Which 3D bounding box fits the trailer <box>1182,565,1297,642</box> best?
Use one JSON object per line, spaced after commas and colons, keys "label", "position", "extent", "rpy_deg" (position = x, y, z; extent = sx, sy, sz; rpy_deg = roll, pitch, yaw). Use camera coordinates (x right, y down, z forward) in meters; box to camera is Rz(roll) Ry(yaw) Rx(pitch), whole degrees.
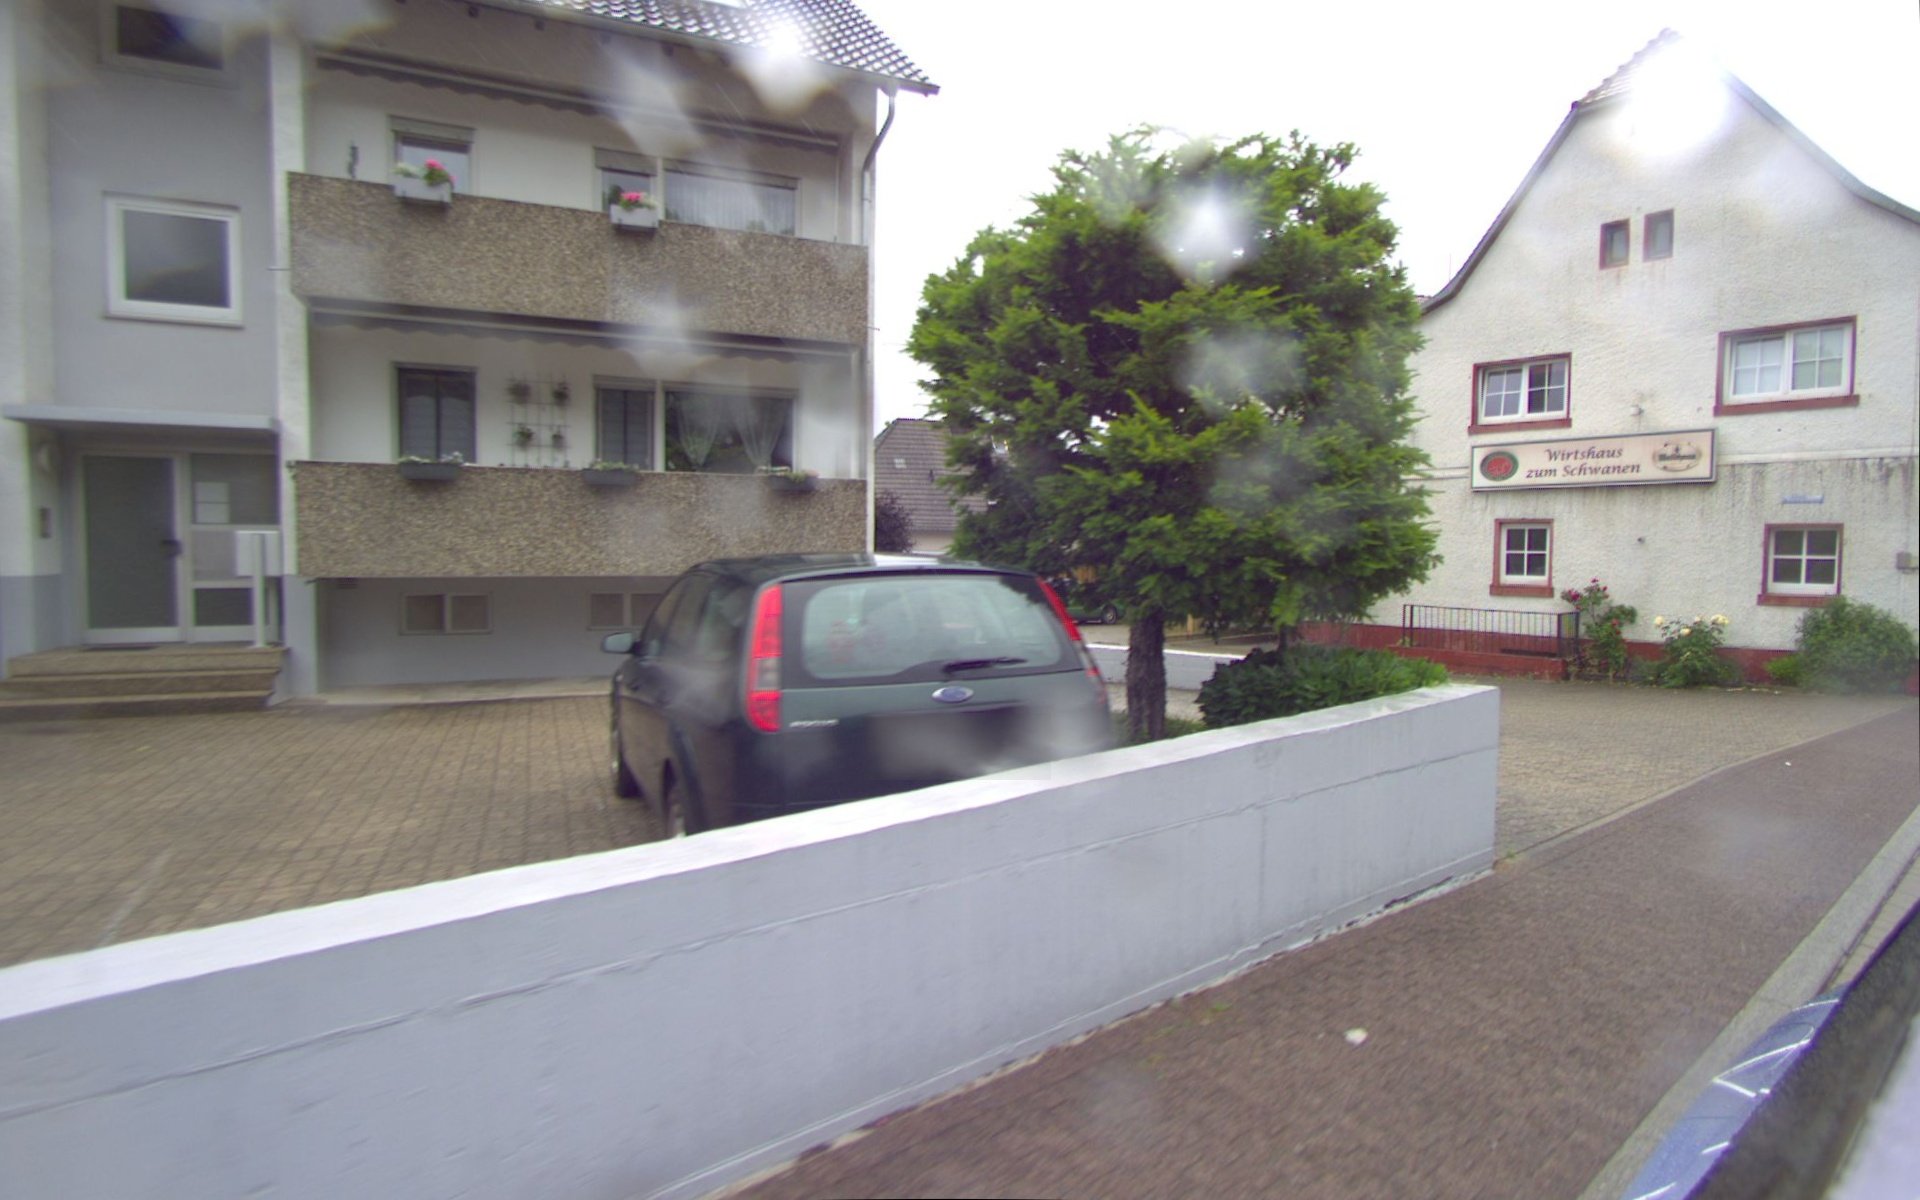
{"label": "trailer", "position": [6.769, 0.059, 24.448], "extent": [2.566, 1.763, 1.571], "rpy_deg": [-1, 1, -42]}

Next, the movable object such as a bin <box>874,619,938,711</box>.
{"label": "movable object such as a bin", "position": [-0.714, 0.830, 13.211], "extent": [0.676, 1.132, 0.627], "rpy_deg": [-1, 0, -18]}

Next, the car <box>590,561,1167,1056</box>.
{"label": "car", "position": [-0.882, 0.554, 5.340], "extent": [1.660, 1.498, 4.250], "rpy_deg": [0, 2, -25]}

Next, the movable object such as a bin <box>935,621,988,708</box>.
{"label": "movable object such as a bin", "position": [0.013, 0.828, 13.262], "extent": [0.558, 1.080, 0.627], "rpy_deg": [-1, 0, -14]}

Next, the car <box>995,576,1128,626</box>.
{"label": "car", "position": [3.122, 0.001, 31.061], "extent": [3.748, 1.393, 1.636], "rpy_deg": [-1, 2, -26]}

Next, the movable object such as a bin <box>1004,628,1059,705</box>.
{"label": "movable object such as a bin", "position": [0.937, 0.866, 13.342], "extent": [0.644, 0.960, 0.626], "rpy_deg": [-1, 0, -2]}

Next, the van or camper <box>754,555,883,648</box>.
{"label": "van or camper", "position": [-3.611, -0.067, 24.916], "extent": [2.154, 2.038, 4.864], "rpy_deg": [0, 2, -20]}
